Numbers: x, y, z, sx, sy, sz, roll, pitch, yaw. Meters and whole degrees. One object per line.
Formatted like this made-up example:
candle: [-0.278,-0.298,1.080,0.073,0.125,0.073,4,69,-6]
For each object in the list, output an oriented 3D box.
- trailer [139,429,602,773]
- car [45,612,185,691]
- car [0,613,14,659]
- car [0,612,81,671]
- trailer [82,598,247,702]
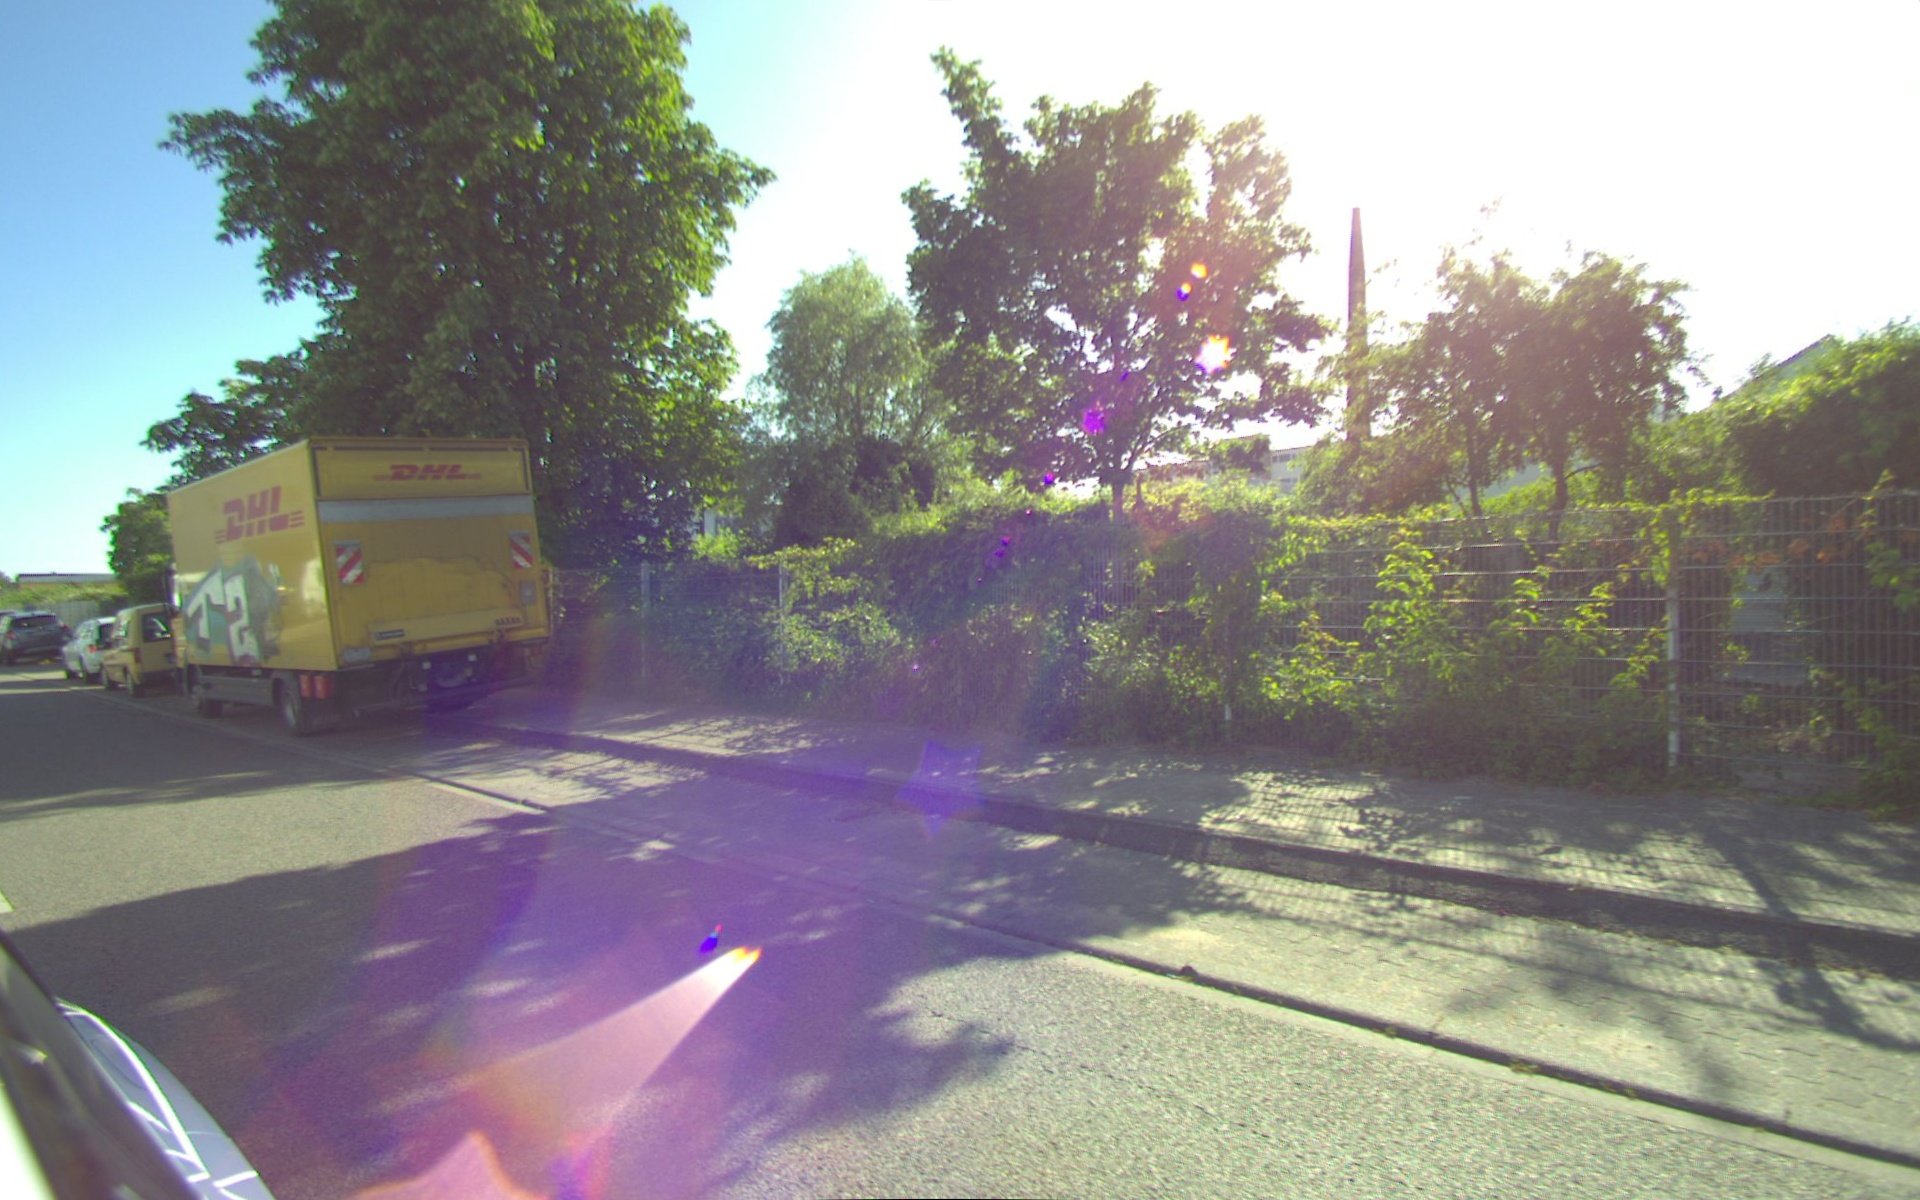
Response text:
trailer: [-8.499,0.054,13.997,8.155,3.469,2.961,-1,0,40]
car: [-21.075,1.218,25.150,5.024,1.604,1.888,-1,4,42]
car: [-39.146,1.454,40.291,4.802,1.743,1.772,-1,2,43]
car: [-31.227,1.350,33.846,4.458,1.674,1.890,-2,4,39]
trailer: [-16.693,0.959,21.168,4.413,1.956,1.973,-1,-1,42]
